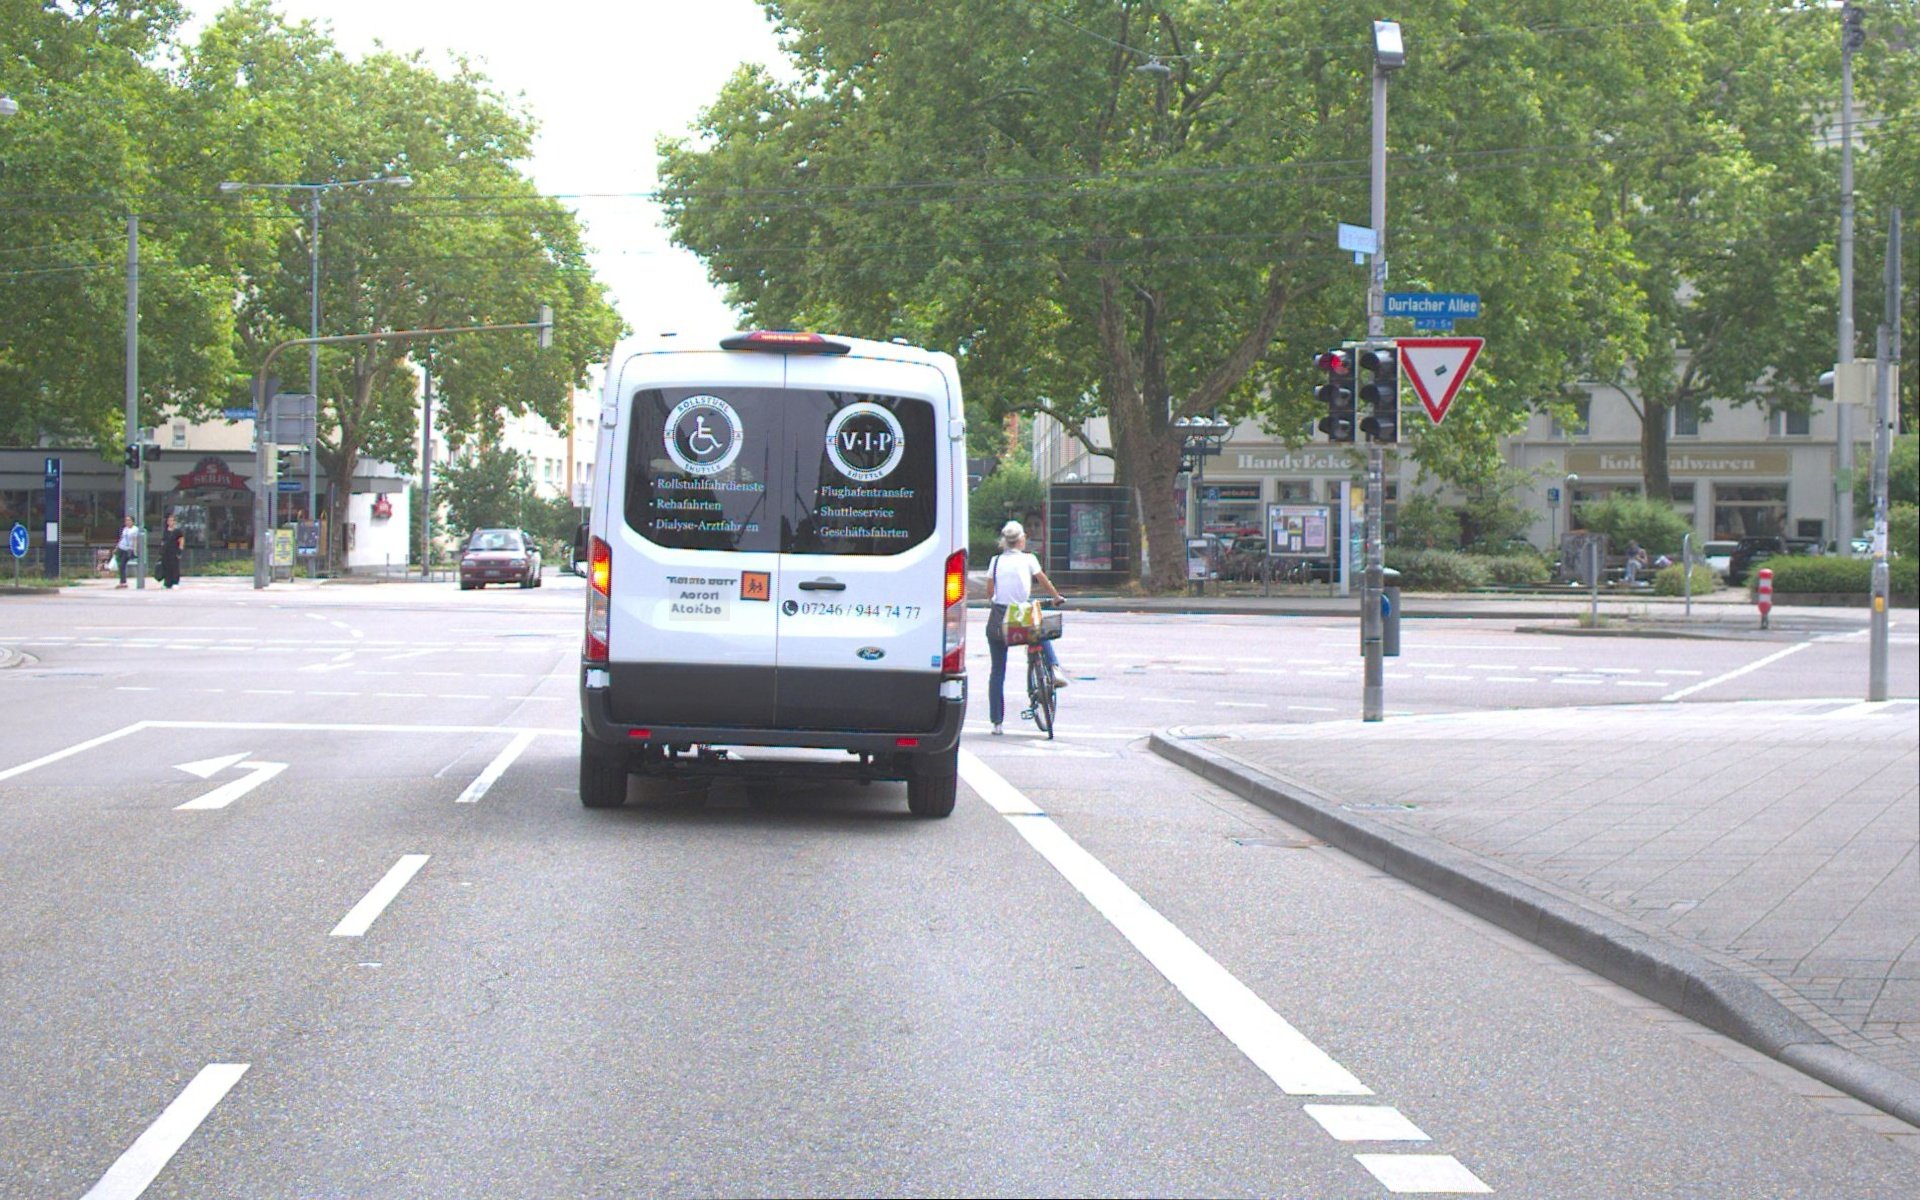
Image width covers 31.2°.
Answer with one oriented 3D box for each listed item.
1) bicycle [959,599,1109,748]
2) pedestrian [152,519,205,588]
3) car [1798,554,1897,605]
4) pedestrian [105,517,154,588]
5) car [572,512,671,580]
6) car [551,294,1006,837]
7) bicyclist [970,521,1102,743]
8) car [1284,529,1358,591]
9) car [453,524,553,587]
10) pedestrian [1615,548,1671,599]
[{"bbox_3d":[0.552,0.547,26.616,0.902,1.071,1.970,0,1,-6],"label":"bicycle"},{"bbox_3d":[-17.259,-1.022,75.946,0.930,1.509,0.723,1,1,11],"label":"pedestrian"},{"bbox_3d":[26.722,-0.628,103.628,1.993,1.498,4.000,0,1,1],"label":"car"},{"bbox_3d":[-18.342,-1.056,75.947,0.807,1.567,0.723,1,1,11],"label":"pedestrian"},{"bbox_3d":[-8.112,-1.319,82.779,1.733,1.586,4.000,0,1,4],"label":"car"},{"bbox_3d":[-1.106,-0.237,19.444,2.181,2.638,4.629,2,2,-5],"label":"car"},{"bbox_3d":[0.578,0.237,26.424,0.903,1.677,0.757,0,1,-7],"label":"bicyclist"},{"bbox_3d":[11.448,-1.292,109.139,1.993,1.924,4.000,0,1,1],"label":"car"},{"bbox_3d":[-11.038,-1.102,83.218,1.621,1.471,4.000,0,1,4],"label":"car"},{"bbox_3d":[16.933,-0.654,85.253,1.091,1.232,1.441,-1,0,1],"label":"pedestrian"}]
